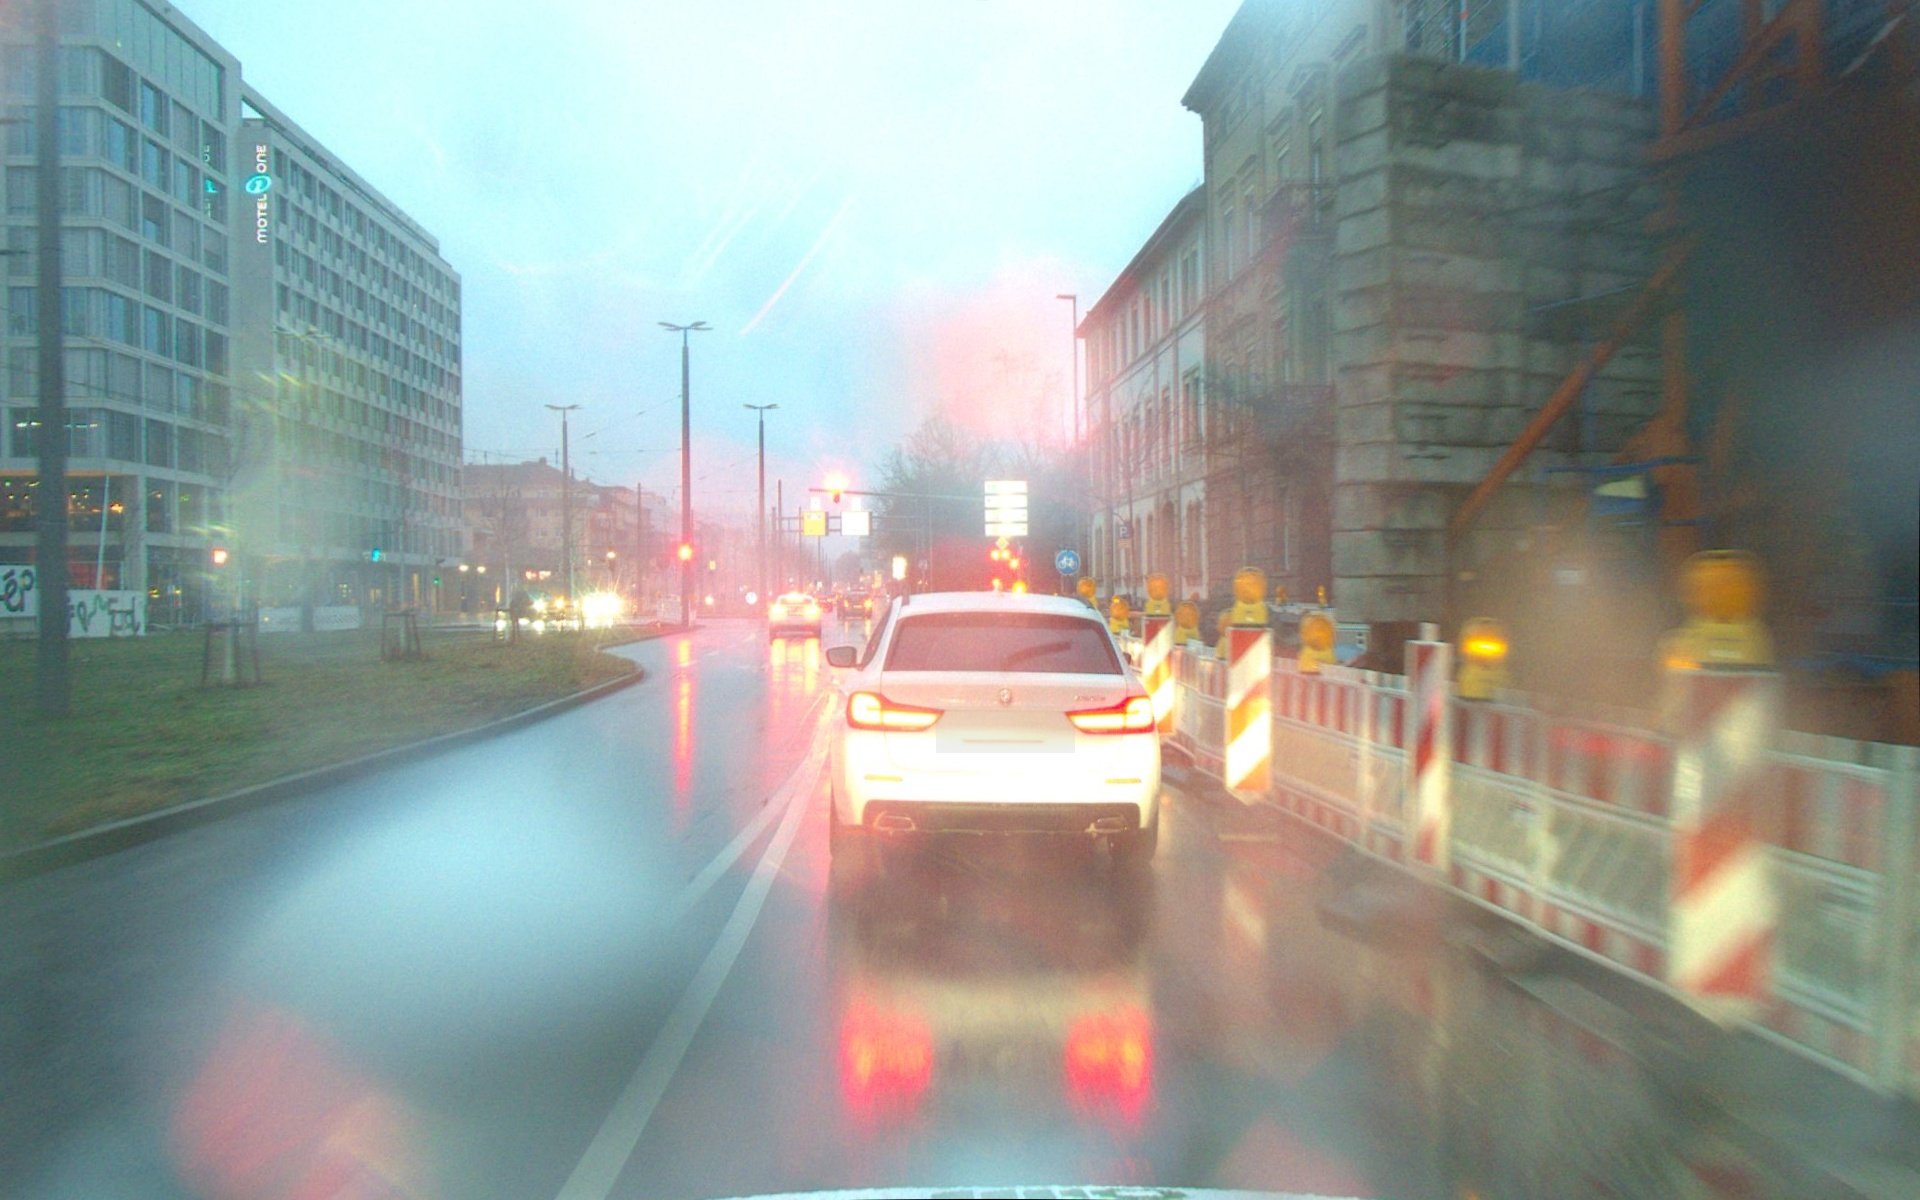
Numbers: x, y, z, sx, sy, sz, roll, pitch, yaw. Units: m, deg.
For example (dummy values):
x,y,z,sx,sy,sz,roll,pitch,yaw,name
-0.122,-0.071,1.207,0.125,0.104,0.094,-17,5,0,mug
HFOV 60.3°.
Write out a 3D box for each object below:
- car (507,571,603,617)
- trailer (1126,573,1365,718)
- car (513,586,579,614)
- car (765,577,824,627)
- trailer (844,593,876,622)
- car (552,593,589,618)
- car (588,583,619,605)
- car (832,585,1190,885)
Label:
x,y,z,sx,sy,sz,roll,pitch,yaw,name
-18.114,-0.265,73.969,3.932,2.009,1.987,0,0,-22,car
3.315,0.452,20.173,1.799,1.516,4.844,-1,1,-3,trailer
-22.926,-0.020,91.560,3.472,1.518,1.738,0,1,37,car
-5.728,0.054,57.619,1.863,1.670,3.997,0,1,-3,car
-6.086,0.453,100.452,1.799,1.672,3.995,0,1,-6,trailer
-26.856,0.350,114.198,1.821,1.668,4.029,0,1,-4,car
-27.949,-0.453,129.748,1.527,1.687,3.397,0,1,4,car
0.091,0.651,10.804,1.815,1.491,4.943,0,1,-4,car
